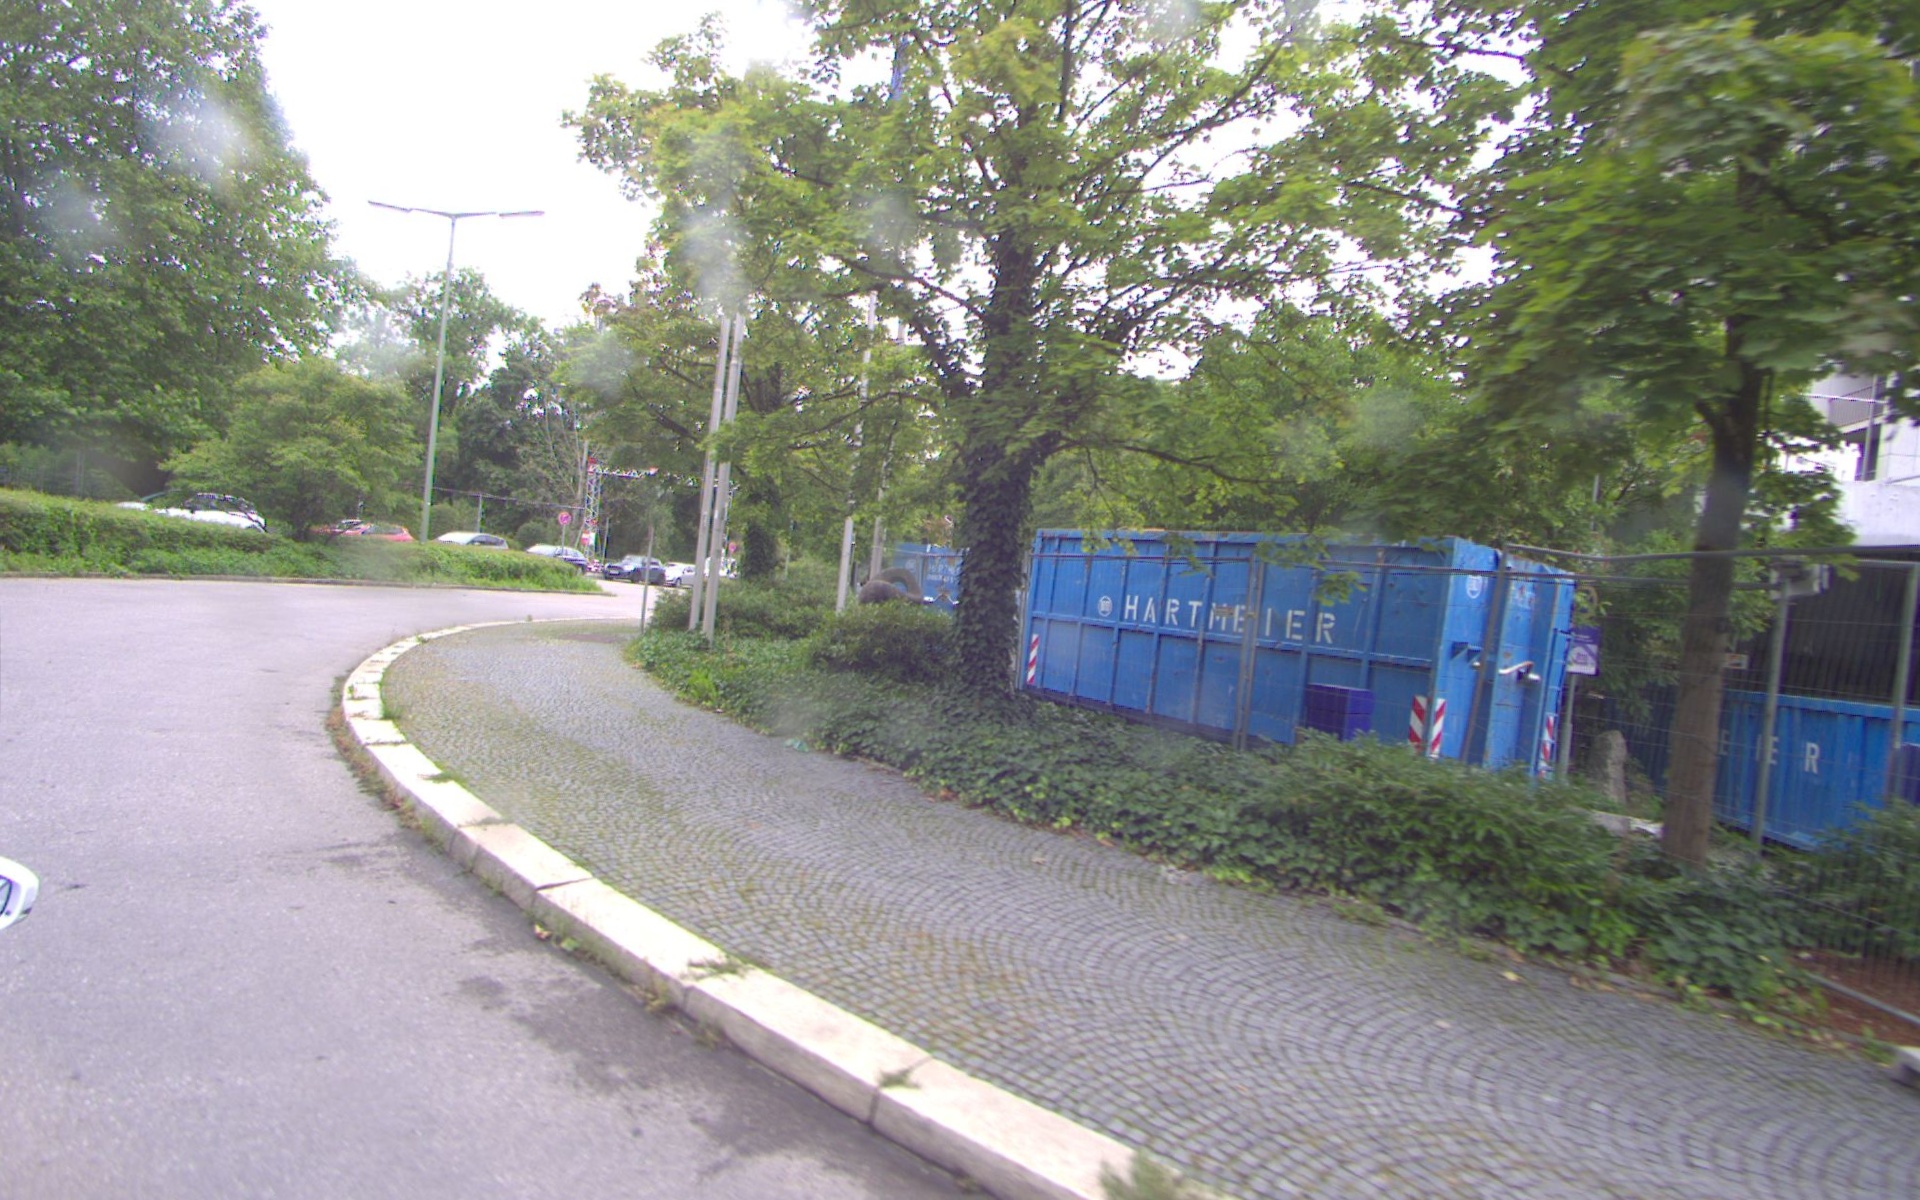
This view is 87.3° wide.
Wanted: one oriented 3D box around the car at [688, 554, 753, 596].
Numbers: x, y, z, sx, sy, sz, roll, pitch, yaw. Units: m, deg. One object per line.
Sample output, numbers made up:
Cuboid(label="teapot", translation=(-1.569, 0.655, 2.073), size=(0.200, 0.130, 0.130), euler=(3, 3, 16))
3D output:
Cuboid(label="car", translation=(-15.469, -1.601, 65.291), size=(2.164, 2.255, 4.872), euler=(7, 0, 9))

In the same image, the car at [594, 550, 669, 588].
Cuboid(label="car", translation=(-17.717, -1.644, 54.493), size=(1.962, 1.594, 4.001), euler=(7, 0, 12))

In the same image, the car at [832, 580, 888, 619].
Cuboid(label="car", translation=(-4.884, -0.002, 49.697), size=(1.700, 1.632, 4.001), euler=(7, 0, 8))

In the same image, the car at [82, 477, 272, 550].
Cuboid(label="car", translation=(-22.886, -2.479, 29.607), size=(1.962, 1.527, 4.001), euler=(7, 0, 12))

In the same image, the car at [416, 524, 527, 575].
Cuboid(label="car", translation=(-20.170, -2.059, 41.696), size=(1.962, 1.594, 4.001), euler=(7, 0, 12))

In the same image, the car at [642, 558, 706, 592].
Cuboid(label="car", translation=(-16.872, -1.433, 59.465), size=(1.962, 1.594, 4.001), euler=(7, 0, 9))

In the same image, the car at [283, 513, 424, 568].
Cuboid(label="car", translation=(-21.481, -2.070, 35.824), size=(1.962, 1.427, 4.001), euler=(7, 0, 12))

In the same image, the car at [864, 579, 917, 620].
Cuboid(label="car", translation=(-3.740, 0.035, 54.997), size=(1.700, 1.914, 4.329), euler=(7, 0, 9))

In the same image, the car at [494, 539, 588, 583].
Cuboid(label="car", translation=(-19.359, -1.768, 46.673), size=(1.962, 1.594, 4.001), euler=(7, 0, 12))
